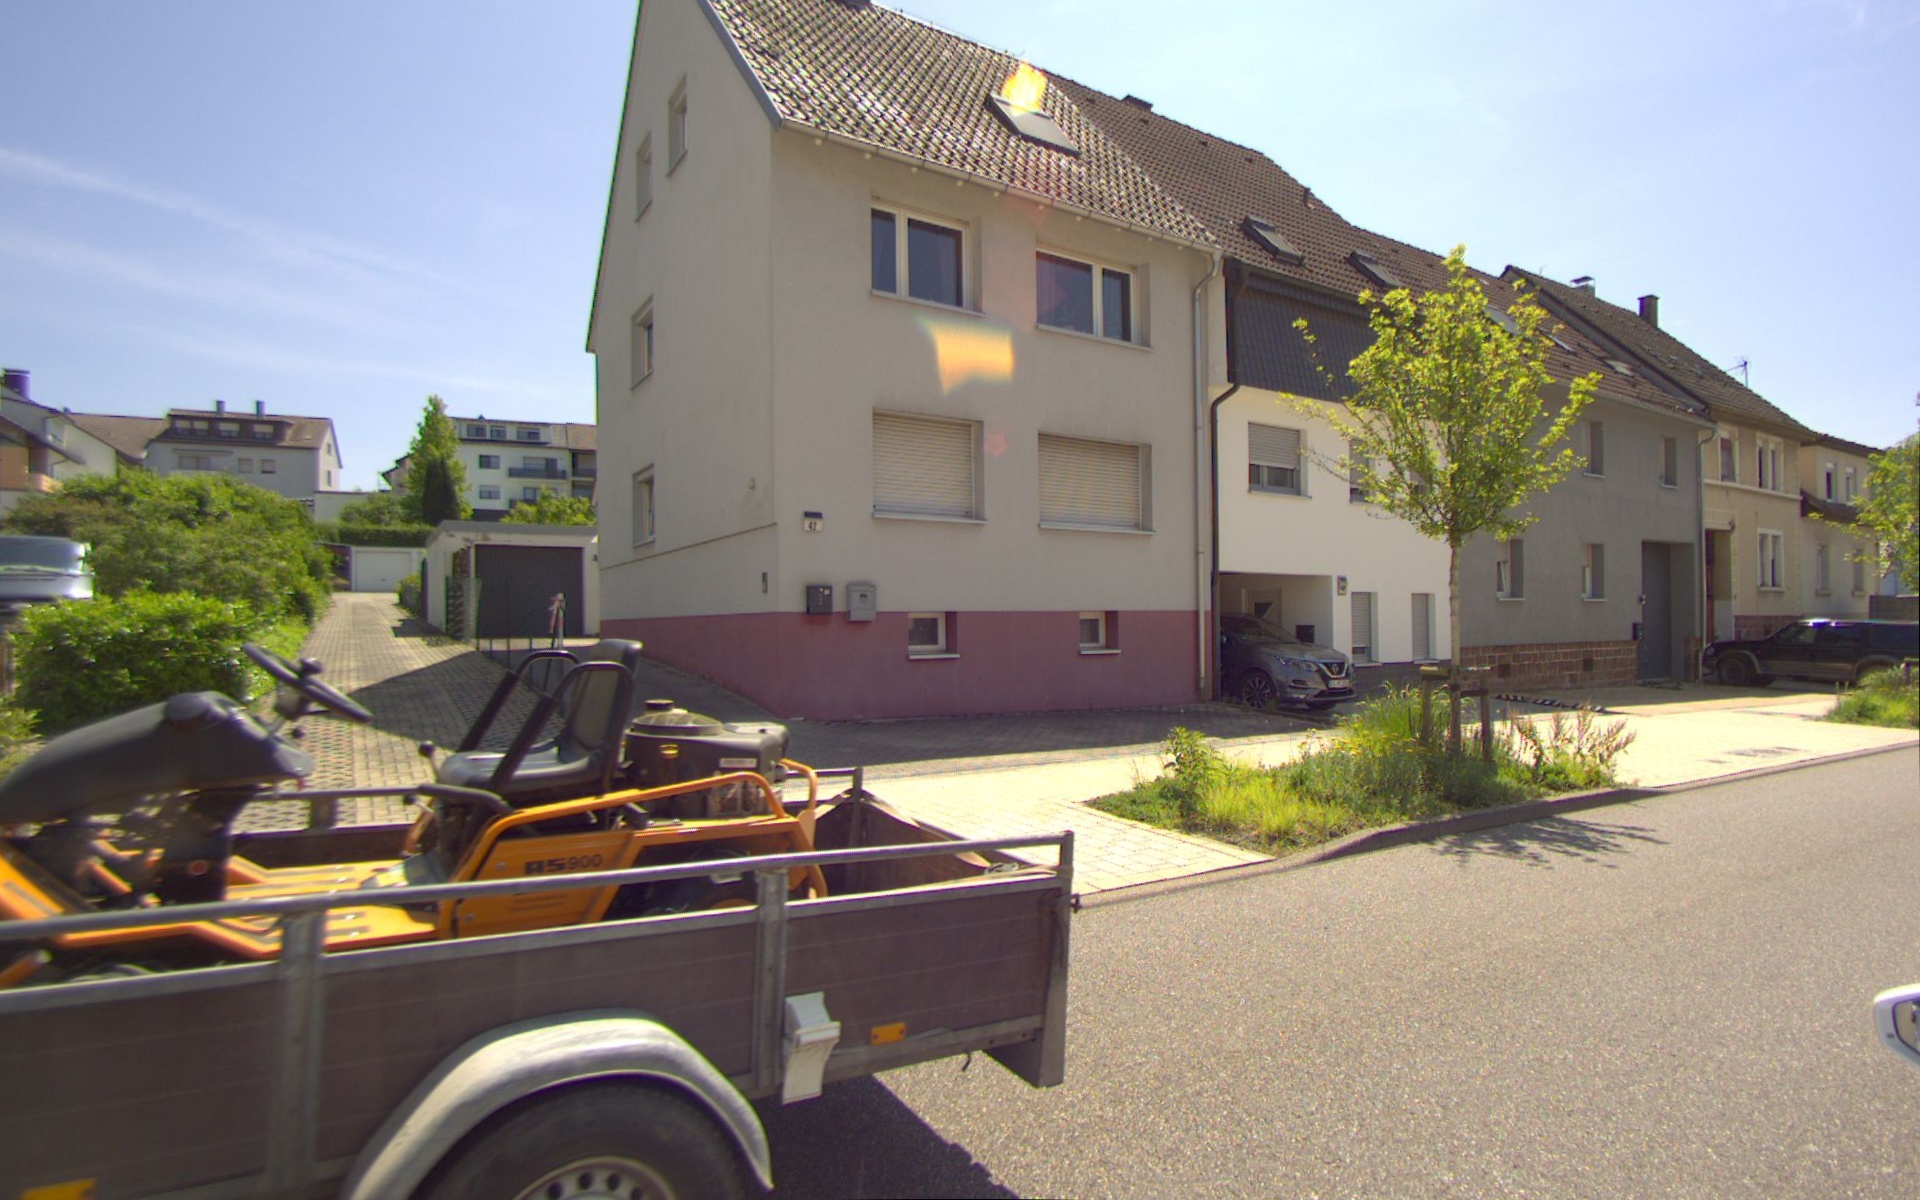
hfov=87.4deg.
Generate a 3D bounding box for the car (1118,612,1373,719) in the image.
[{"bbox_3d":[4.694,1.003,17.048,1.813,1.566,3.964,1,-1,-33],"label":"car"}]

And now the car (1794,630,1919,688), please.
[{"bbox_3d":[25.057,1.561,27.412,1.665,1.458,3.552,1,-1,0],"label":"car"}]

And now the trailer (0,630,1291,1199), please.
[{"bbox_3d":[-1.301,0.790,2.375,4.354,1.414,1.566,1,-2,-32],"label":"trailer"}]

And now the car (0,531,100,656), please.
[{"bbox_3d":[-15.634,-0.019,16.655,1.985,1.857,4.277,2,-3,-41],"label":"car"}]

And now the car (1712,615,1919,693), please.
[{"bbox_3d":[21.677,1.275,25.039,1.859,1.773,4.367,1,-1,-34],"label":"car"}]

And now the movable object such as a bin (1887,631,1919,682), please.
[{"bbox_3d":[26.800,1.565,28.045,1.387,1.337,0.984,-2,1,-30],"label":"movable object such as a bin"}]
